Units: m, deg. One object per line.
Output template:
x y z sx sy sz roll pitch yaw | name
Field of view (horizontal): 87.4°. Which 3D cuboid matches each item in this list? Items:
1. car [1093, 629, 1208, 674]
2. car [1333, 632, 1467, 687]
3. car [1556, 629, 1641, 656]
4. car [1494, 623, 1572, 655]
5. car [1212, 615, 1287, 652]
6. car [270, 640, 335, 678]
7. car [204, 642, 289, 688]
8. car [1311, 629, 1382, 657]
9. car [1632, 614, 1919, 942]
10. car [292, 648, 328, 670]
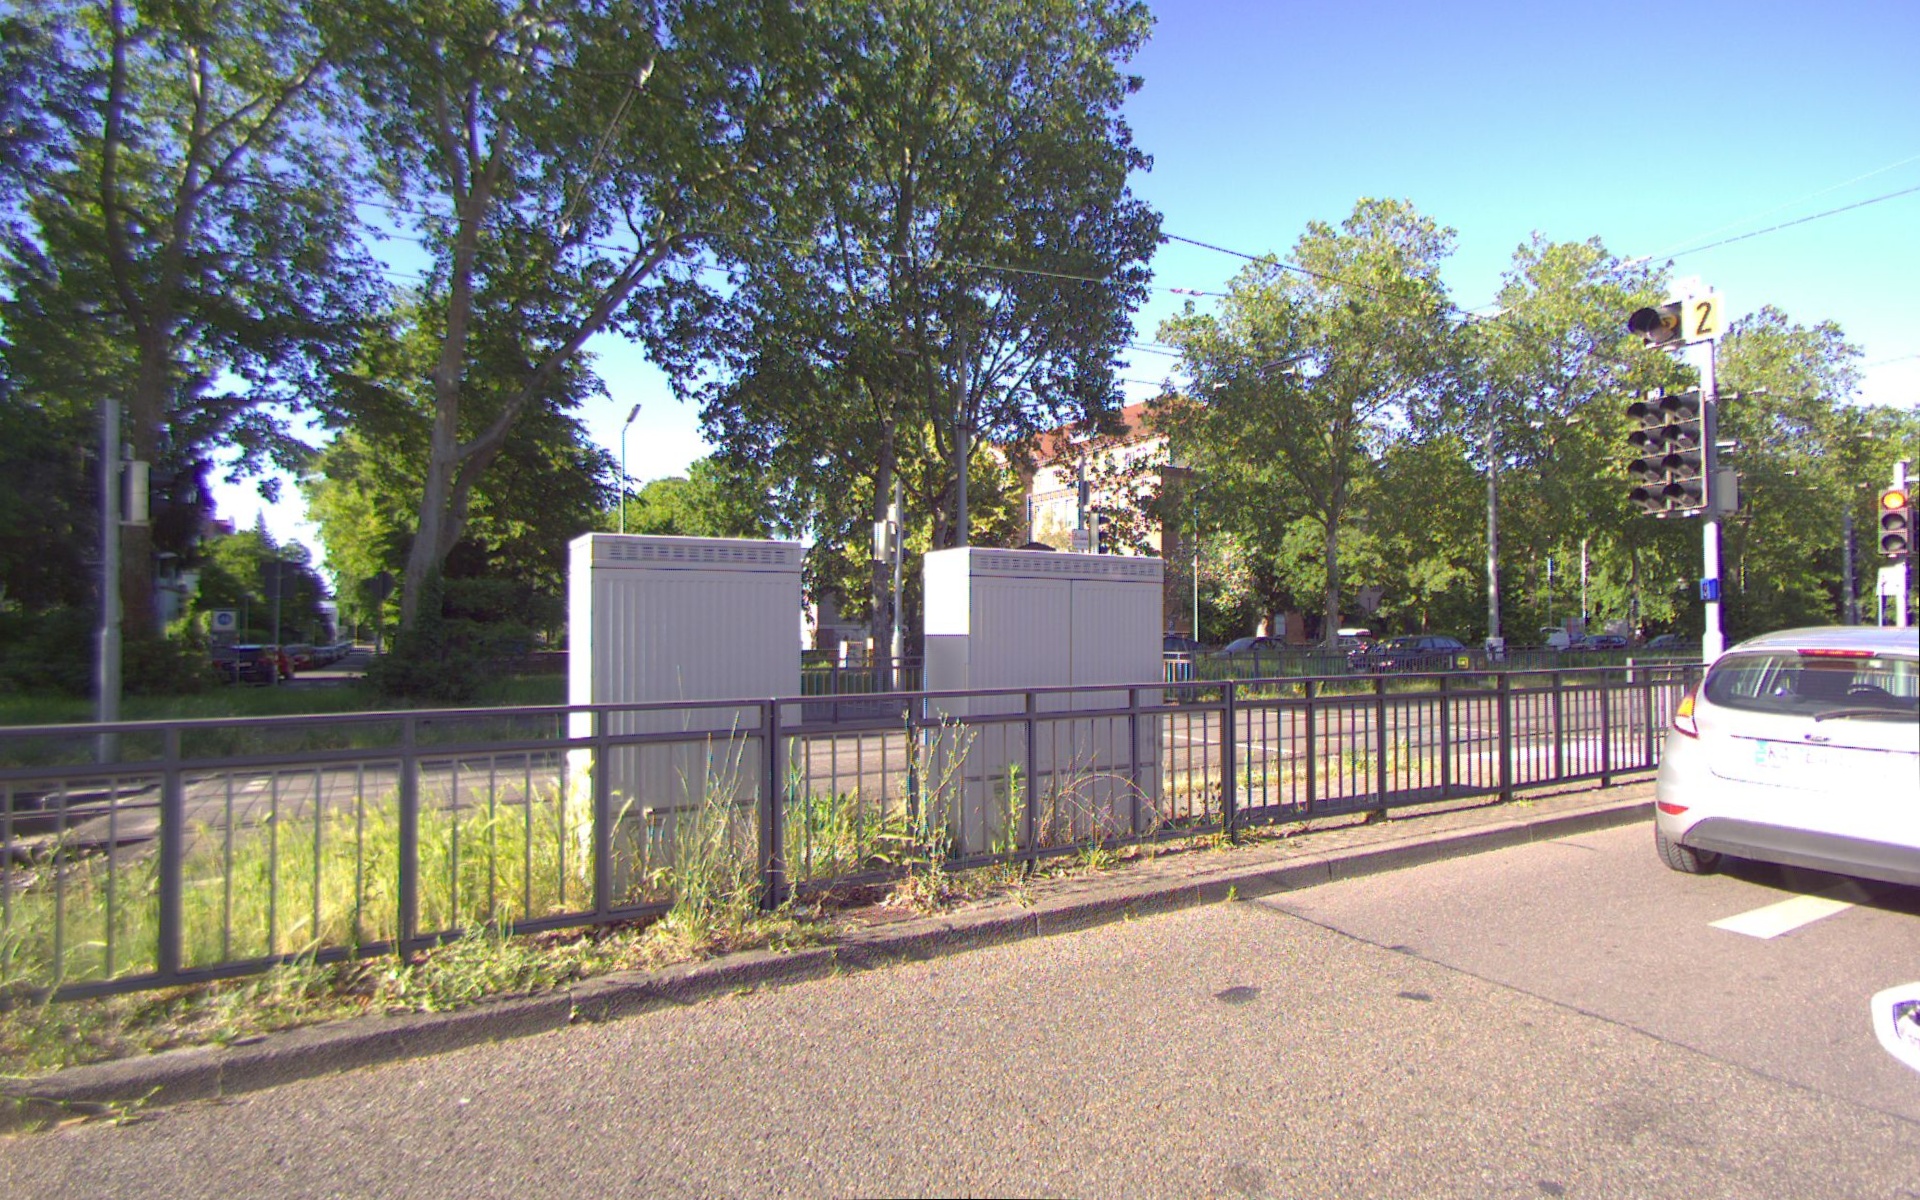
6.959 1.828 36.659 4.098 1.529 1.661 1 -1 -32 | car
13.384 1.746 30.490 4.297 1.518 1.674 1 -1 -33 | car
33.947 2.255 53.396 4.795 1.366 1.926 2 -2 -32 | car
28.753 1.916 50.399 4.098 1.529 1.660 1 -1 -32 | car
16.613 1.891 57.622 3.953 2.040 1.984 1 -1 -30 | car
-27.841 2.471 42.644 1.976 1.437 3.970 1 -1 -29 | car
-24.765 2.211 34.999 1.976 1.437 3.970 1 -1 -29 | car
22.337 2.456 58.203 1.375 1.514 3.974 0 -1 -26 | car
5.727 0.838 5.963 3.850 1.487 1.599 1 -1 -35 | car
-37.646 3.398 58.225 1.513 1.134 3.102 1 -2 -29 | car
